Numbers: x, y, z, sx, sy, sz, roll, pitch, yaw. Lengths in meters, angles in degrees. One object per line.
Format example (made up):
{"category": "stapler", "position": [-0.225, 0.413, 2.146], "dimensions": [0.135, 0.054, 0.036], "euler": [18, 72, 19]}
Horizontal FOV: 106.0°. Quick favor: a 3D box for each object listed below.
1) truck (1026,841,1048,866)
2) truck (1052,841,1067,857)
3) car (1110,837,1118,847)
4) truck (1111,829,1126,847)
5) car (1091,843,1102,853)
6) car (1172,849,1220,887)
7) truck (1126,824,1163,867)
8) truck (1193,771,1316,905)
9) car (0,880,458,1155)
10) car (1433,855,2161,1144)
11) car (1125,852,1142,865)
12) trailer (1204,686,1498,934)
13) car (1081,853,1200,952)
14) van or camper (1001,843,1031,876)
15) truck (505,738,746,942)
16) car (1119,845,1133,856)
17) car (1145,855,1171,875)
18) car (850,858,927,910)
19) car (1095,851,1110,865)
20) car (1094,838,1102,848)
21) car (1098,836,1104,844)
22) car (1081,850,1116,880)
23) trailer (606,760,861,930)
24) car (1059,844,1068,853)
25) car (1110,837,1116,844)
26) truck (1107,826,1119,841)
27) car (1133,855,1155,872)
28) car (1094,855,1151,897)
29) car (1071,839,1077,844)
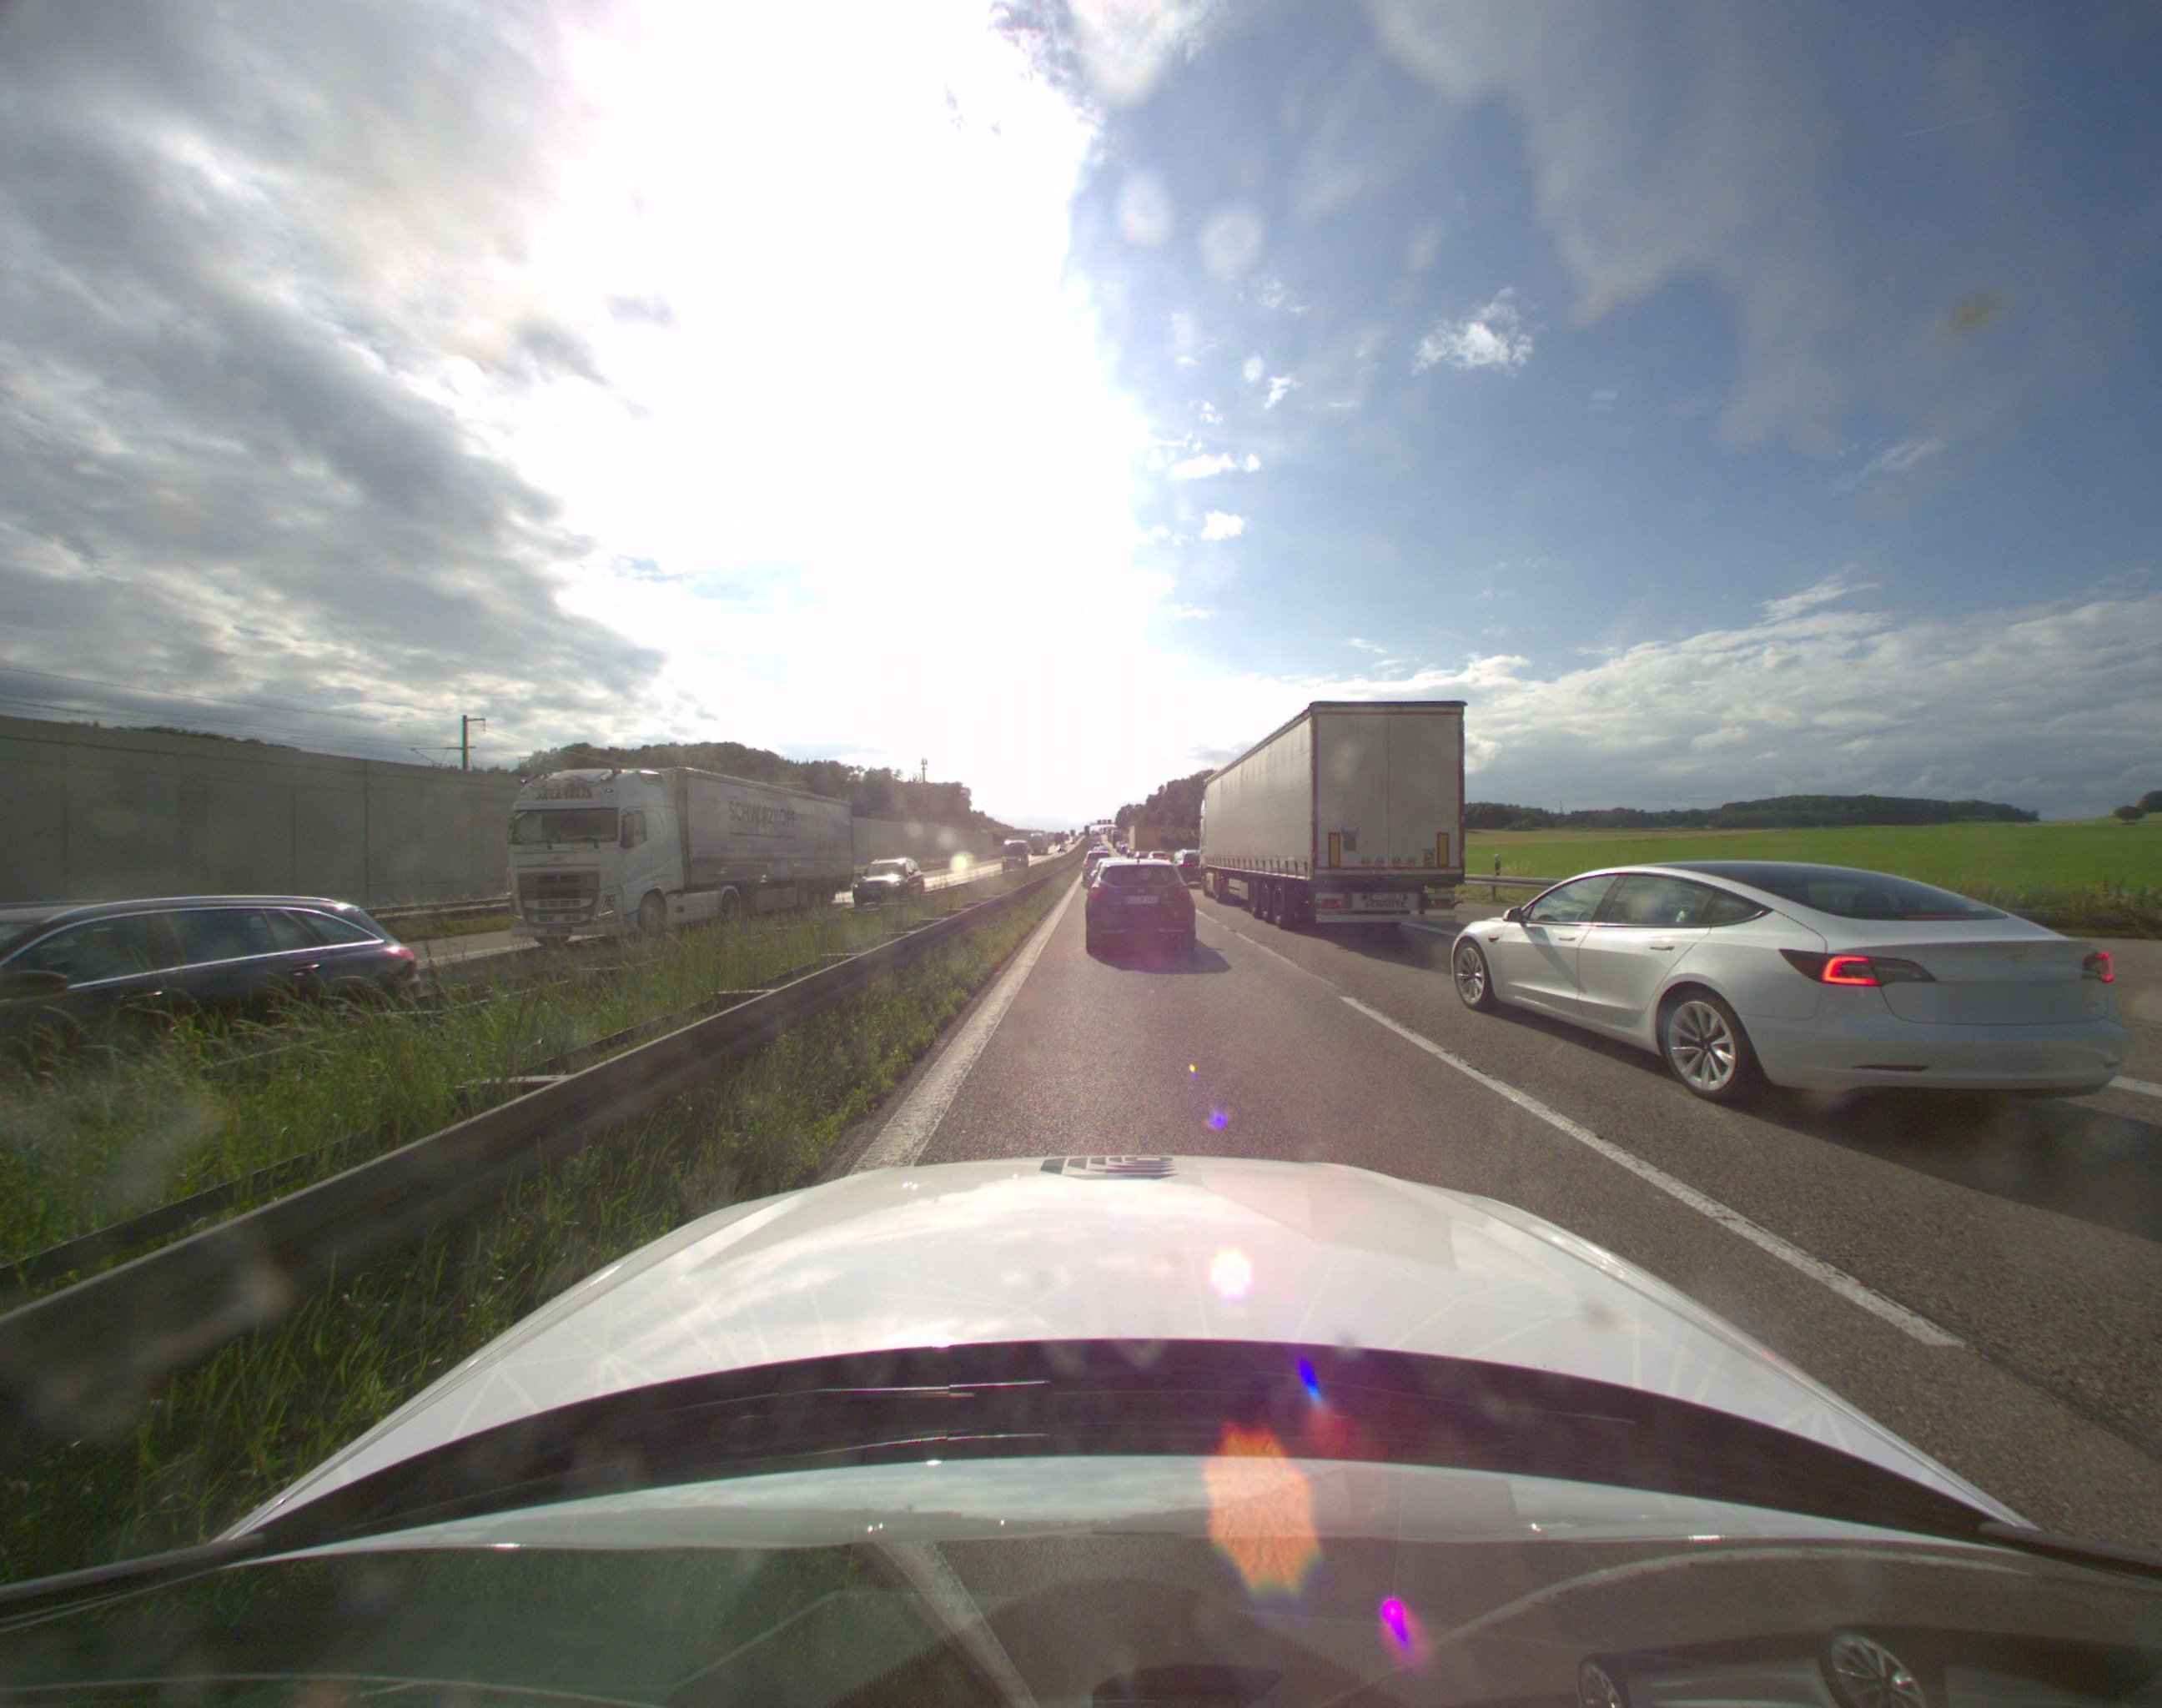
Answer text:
{"category": "truck", "position": [-8.380, -0.152, 158.234], "dimensions": [3.285, 4.577, 12.443], "euler": [-1, 0, 1]}
{"category": "truck", "position": [-6.346, -1.412, 238.359], "dimensions": [3.283, 4.554, 12.450], "euler": [-1, 0, 3]}
{"category": "car", "position": [7.819, -2.782, 193.112], "dimensions": [1.867, 2.158, 5.213], "euler": [-1, 2, 1]}
{"category": "truck", "position": [10.049, -4.219, 218.560], "dimensions": [3.453, 4.577, 12.440], "euler": [0, 1, 0]}
{"category": "car", "position": [2.762, -1.132, 142.789], "dimensions": [1.867, 1.644, 4.232], "euler": [-1, 1, 0]}
{"category": "car", "position": [5.216, 0.607, 37.403], "dimensions": [1.691, 1.611, 4.439], "euler": [-1, -1, 2]}
{"category": "truck", "position": [7.136, -0.862, 93.559], "dimensions": [3.286, 4.577, 12.437], "euler": [0, -1, 0]}
{"category": "truck", "position": [5.588, -0.421, 27.165], "dimensions": [3.122, 4.016, 5.165], "euler": [-1, -1, 2]}
{"category": "car", "position": [-6.482, 0.915, 5.147], "dimensions": [1.735, 1.358, 4.233], "euler": [-1, -1, 1]}
{"category": "car", "position": [4.580, 0.727, 6.266], "dimensions": [1.783, 1.394, 4.435], "euler": [-1, 0, -1]}
{"category": "car", "position": [6.749, 0.588, 104.649], "dimensions": [1.867, 1.644, 4.233], "euler": [-1, 0, 1]}
{"category": "trailer", "position": [5.371, -0.574, 19.905], "dimensions": [3.119, 4.011, 13.370], "euler": [-1, -1, 2]}
{"category": "car", "position": [0.954, 0.753, 14.462], "dimensions": [1.767, 1.451, 4.233], "euler": [-1, -1, 1]}
{"category": "van or camper", "position": [-5.802, 0.509, 73.519], "dimensions": [2.082, 2.820, 5.896], "euler": [0, -1, 1]}
{"category": "truck", "position": [-10.729, -0.268, 19.964], "dimensions": [2.372, 4.181, 5.933], "euler": [-2, -1, 1]}
{"category": "car", "position": [7.534, -0.574, 135.876], "dimensions": [1.868, 1.644, 4.229], "euler": [-1, 1, -2]}
{"category": "car", "position": [6.629, 0.978, 70.441], "dimensions": [1.866, 1.644, 4.233], "euler": [-2, -1, 1]}
{"category": "car", "position": [-6.824, 1.029, 29.250], "dimensions": [1.703, 1.706, 4.173], "euler": [-1, -1, 0]}
{"category": "car", "position": [2.712, 0.522, 103.340], "dimensions": [1.866, 1.644, 4.234], "euler": [-1, 1, 1]}
{"category": "car", "position": [3.930, -2.499, 187.550], "dimensions": [1.867, 2.158, 5.213], "euler": [-1, 2, 1]}
{"category": "car", "position": [6.036, -4.304, 244.880], "dimensions": [1.867, 2.158, 5.213], "euler": [-1, 2, 1]}
{"category": "car", "position": [1.011, 0.617, 46.553], "dimensions": [1.866, 1.644, 4.233], "euler": [-1, -1, 1]}
{"category": "trailer", "position": [-10.535, -0.173, 27.091], "dimensions": [2.380, 4.182, 13.207], "euler": [-2, -1, 2]}
{"category": "car", "position": [-3.702, -1.145, 169.168], "dimensions": [1.738, 1.706, 4.231], "euler": [0, -1, 0]}
{"category": "car", "position": [9.703, -4.167, 247.882], "dimensions": [1.867, 2.158, 5.213], "euler": [-1, 2, 1]}
{"category": "truck", "position": [10.239, -6.519, 264.522], "dimensions": [3.453, 4.577, 12.440], "euler": [0, 1, 0]}
{"category": "car", "position": [6.239, 0.916, 80.856], "dimensions": [1.866, 1.644, 4.233], "euler": [-1, 0, 1]}
{"category": "car", "position": [1.436, 0.748, 29.045], "dimensions": [1.866, 1.358, 4.233], "euler": [-1, -1, 1]}
{"category": "car", "position": [-2.145, -3.755, 244.545], "dimensions": [1.737, 1.705, 4.234], "euler": [0, 1, 2]}
